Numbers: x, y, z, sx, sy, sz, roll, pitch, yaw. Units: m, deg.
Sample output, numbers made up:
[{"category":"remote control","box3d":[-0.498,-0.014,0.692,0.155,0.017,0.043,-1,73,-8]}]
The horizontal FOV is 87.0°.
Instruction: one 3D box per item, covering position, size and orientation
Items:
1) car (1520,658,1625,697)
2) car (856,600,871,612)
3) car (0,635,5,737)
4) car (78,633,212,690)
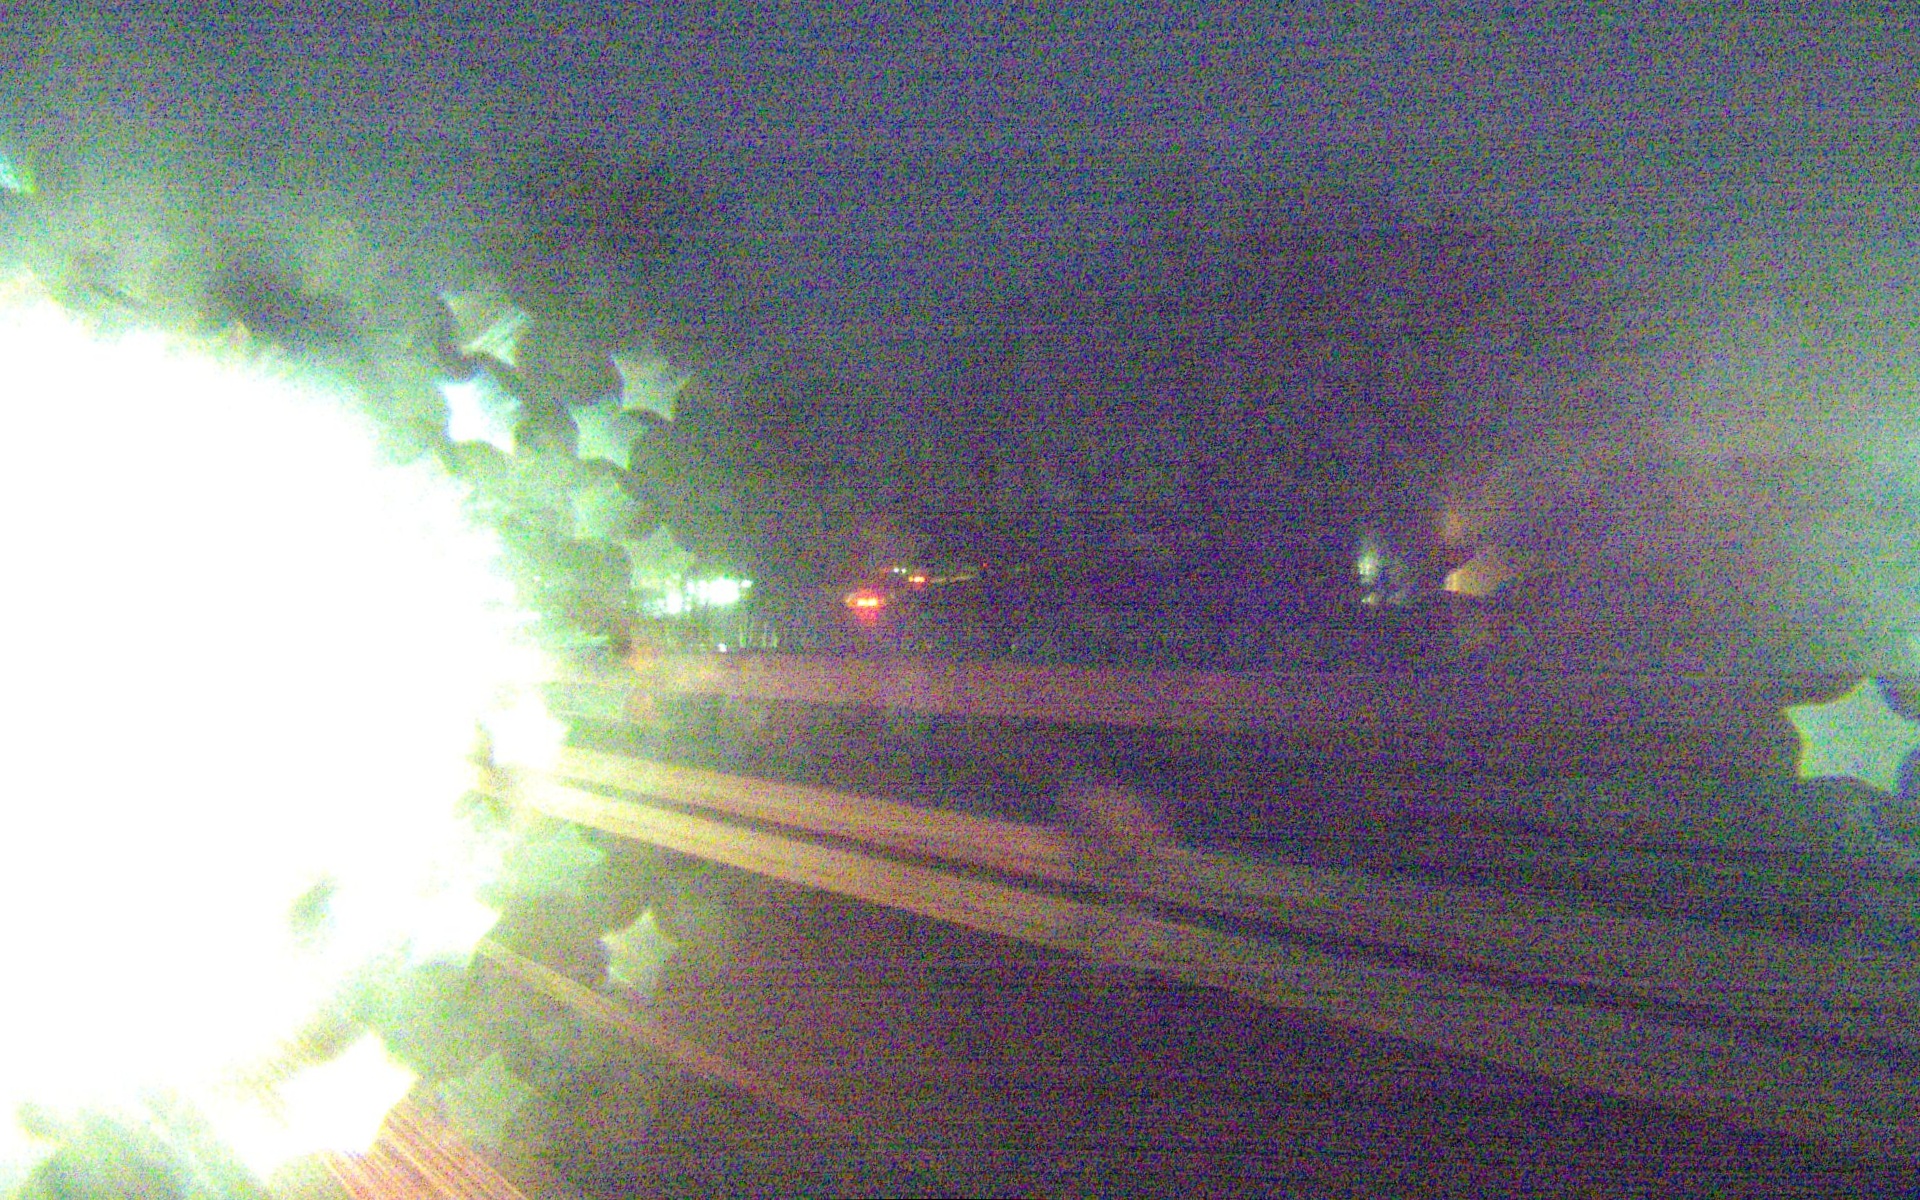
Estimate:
[{"category":"car","box3d":[31.467,3.957,52.101,4.205,1.765,1.914,1,-1,15]},{"category":"car","box3d":[-12.064,0.767,126.518,1.481,1.438,3.439,1,1,-11]},{"category":"car","box3d":[-13.381,1.163,12.597,1.660,1.462,3.650,2,-3,-36]},{"category":"car","box3d":[-20.916,1.522,26.156,1.731,1.322,4.098,0,-2,-25]}]
